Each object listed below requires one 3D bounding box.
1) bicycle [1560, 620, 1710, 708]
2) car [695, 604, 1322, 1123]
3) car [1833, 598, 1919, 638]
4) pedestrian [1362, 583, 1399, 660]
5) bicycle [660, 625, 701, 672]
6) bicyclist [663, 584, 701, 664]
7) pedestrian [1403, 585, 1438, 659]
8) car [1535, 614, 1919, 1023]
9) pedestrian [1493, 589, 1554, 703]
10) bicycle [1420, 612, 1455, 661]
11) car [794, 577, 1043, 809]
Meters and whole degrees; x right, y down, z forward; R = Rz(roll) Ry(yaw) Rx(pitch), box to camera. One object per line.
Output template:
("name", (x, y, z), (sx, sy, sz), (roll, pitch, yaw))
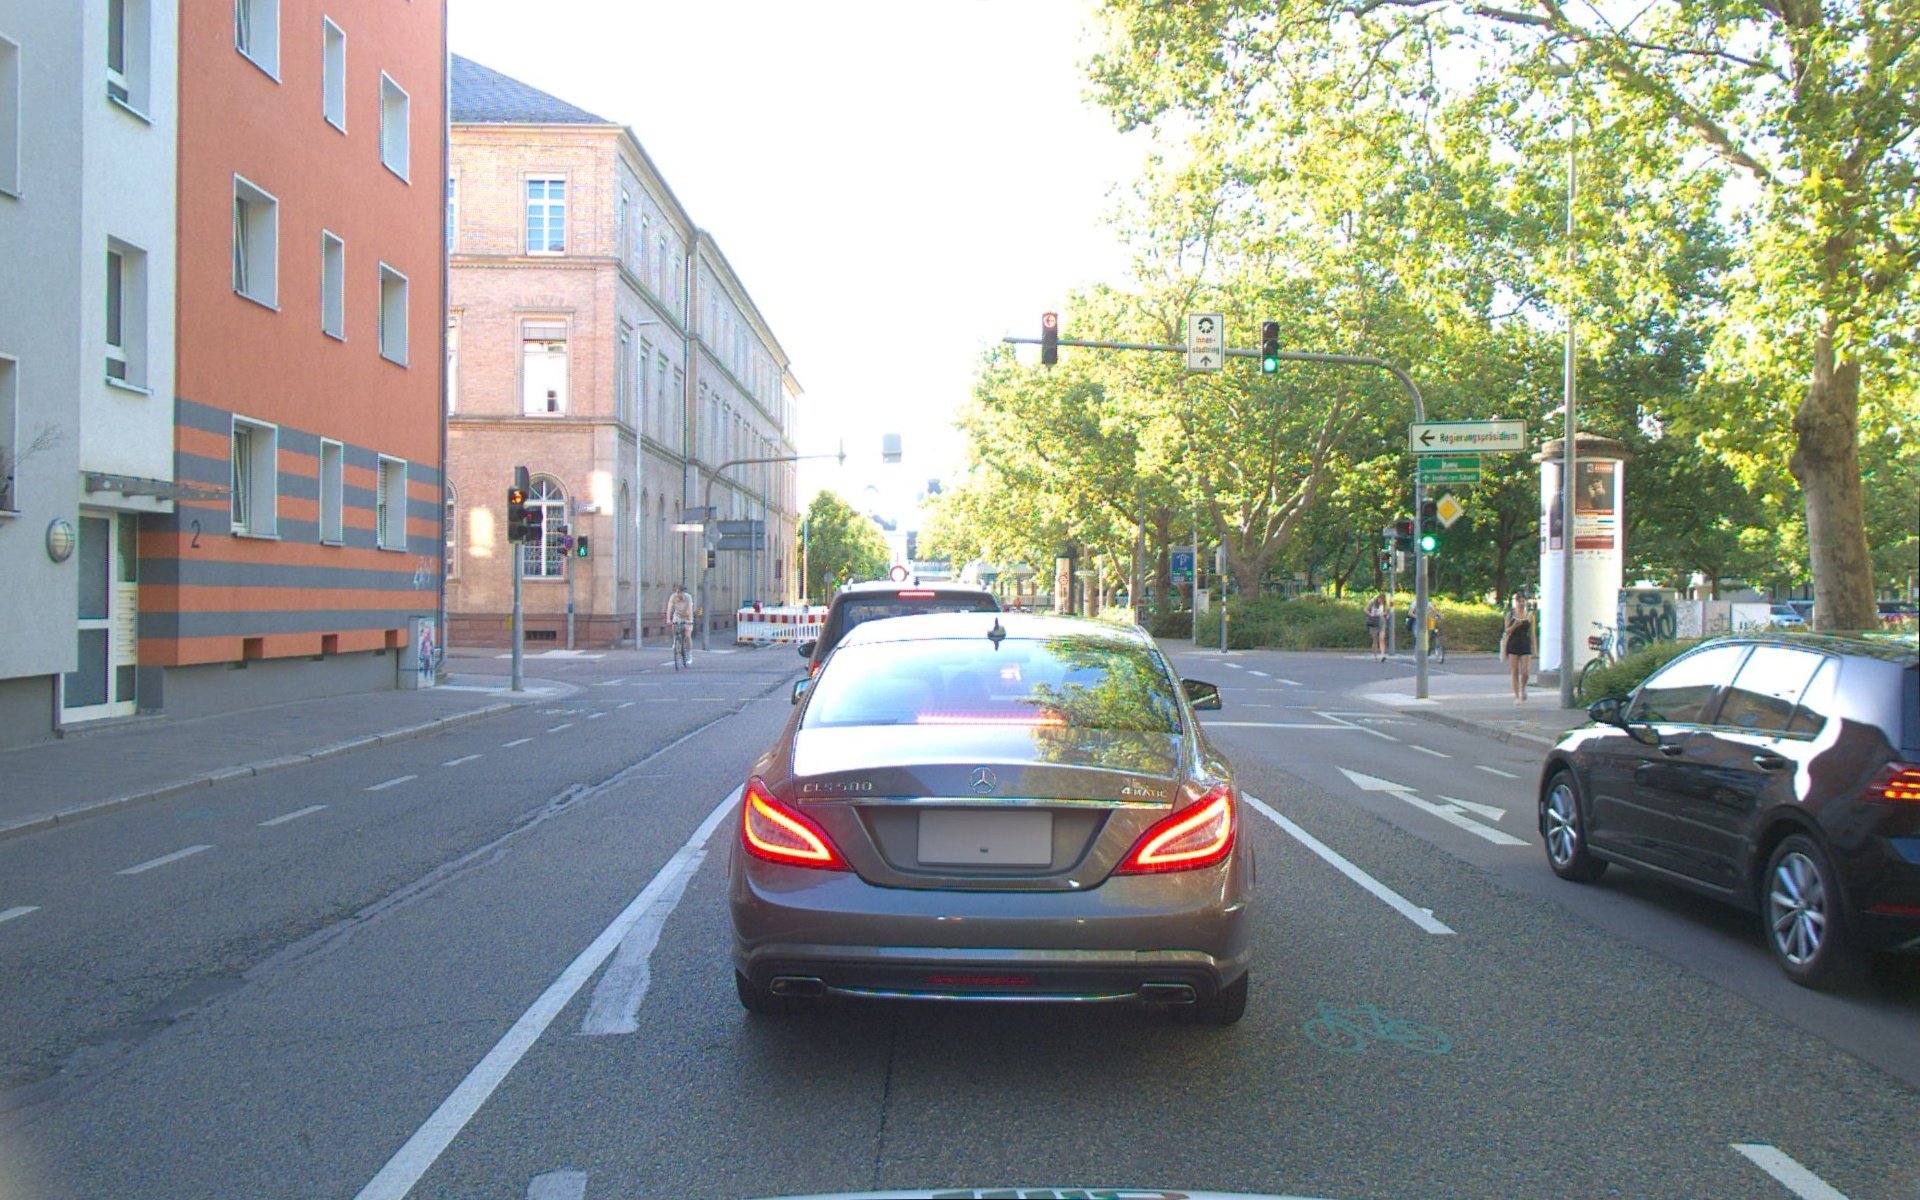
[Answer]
("bicycle", (9.695, 0.911, 23.776), (1.936, 1.210, 0.528), (1, -1, -2))
("car", (0.323, 0.767, 7.066), (1.804, 1.454, 4.520), (1, 0, 5))
("car", (36.264, 0.696, 65.165), (1.596, 1.508, 3.794), (1, 0, -2))
("pedestrian", (10.094, 0.519, 39.755), (0.716, 1.840, 0.910), (-1, -1, 6))
("bicycle", (-5.689, 0.970, 33.705), (0.537, 0.906, 1.867), (1, 0, -1))
("bicyclist", (-5.663, 0.483, 33.720), (0.635, 1.586, 0.806), (1, -1, -2))
("pedestrian", (11.037, 0.528, 39.666), (0.668, 1.727, 0.971), (1, 0, 8))
("car", (4.302, 0.838, 7.918), (1.655, 1.465, 3.901), (2, 0, -1))
("pedestrian", (8.395, 0.679, 24.655), (0.781, 1.659, 0.908), (-1, -1, 16))
("bicycle", (11.414, 0.857, 39.541), (0.513, 1.119, 1.742), (1, 0, 7))
("car", (-0.268, 0.667, 13.737), (1.772, 1.641, 4.000), (0, 0, 1))
